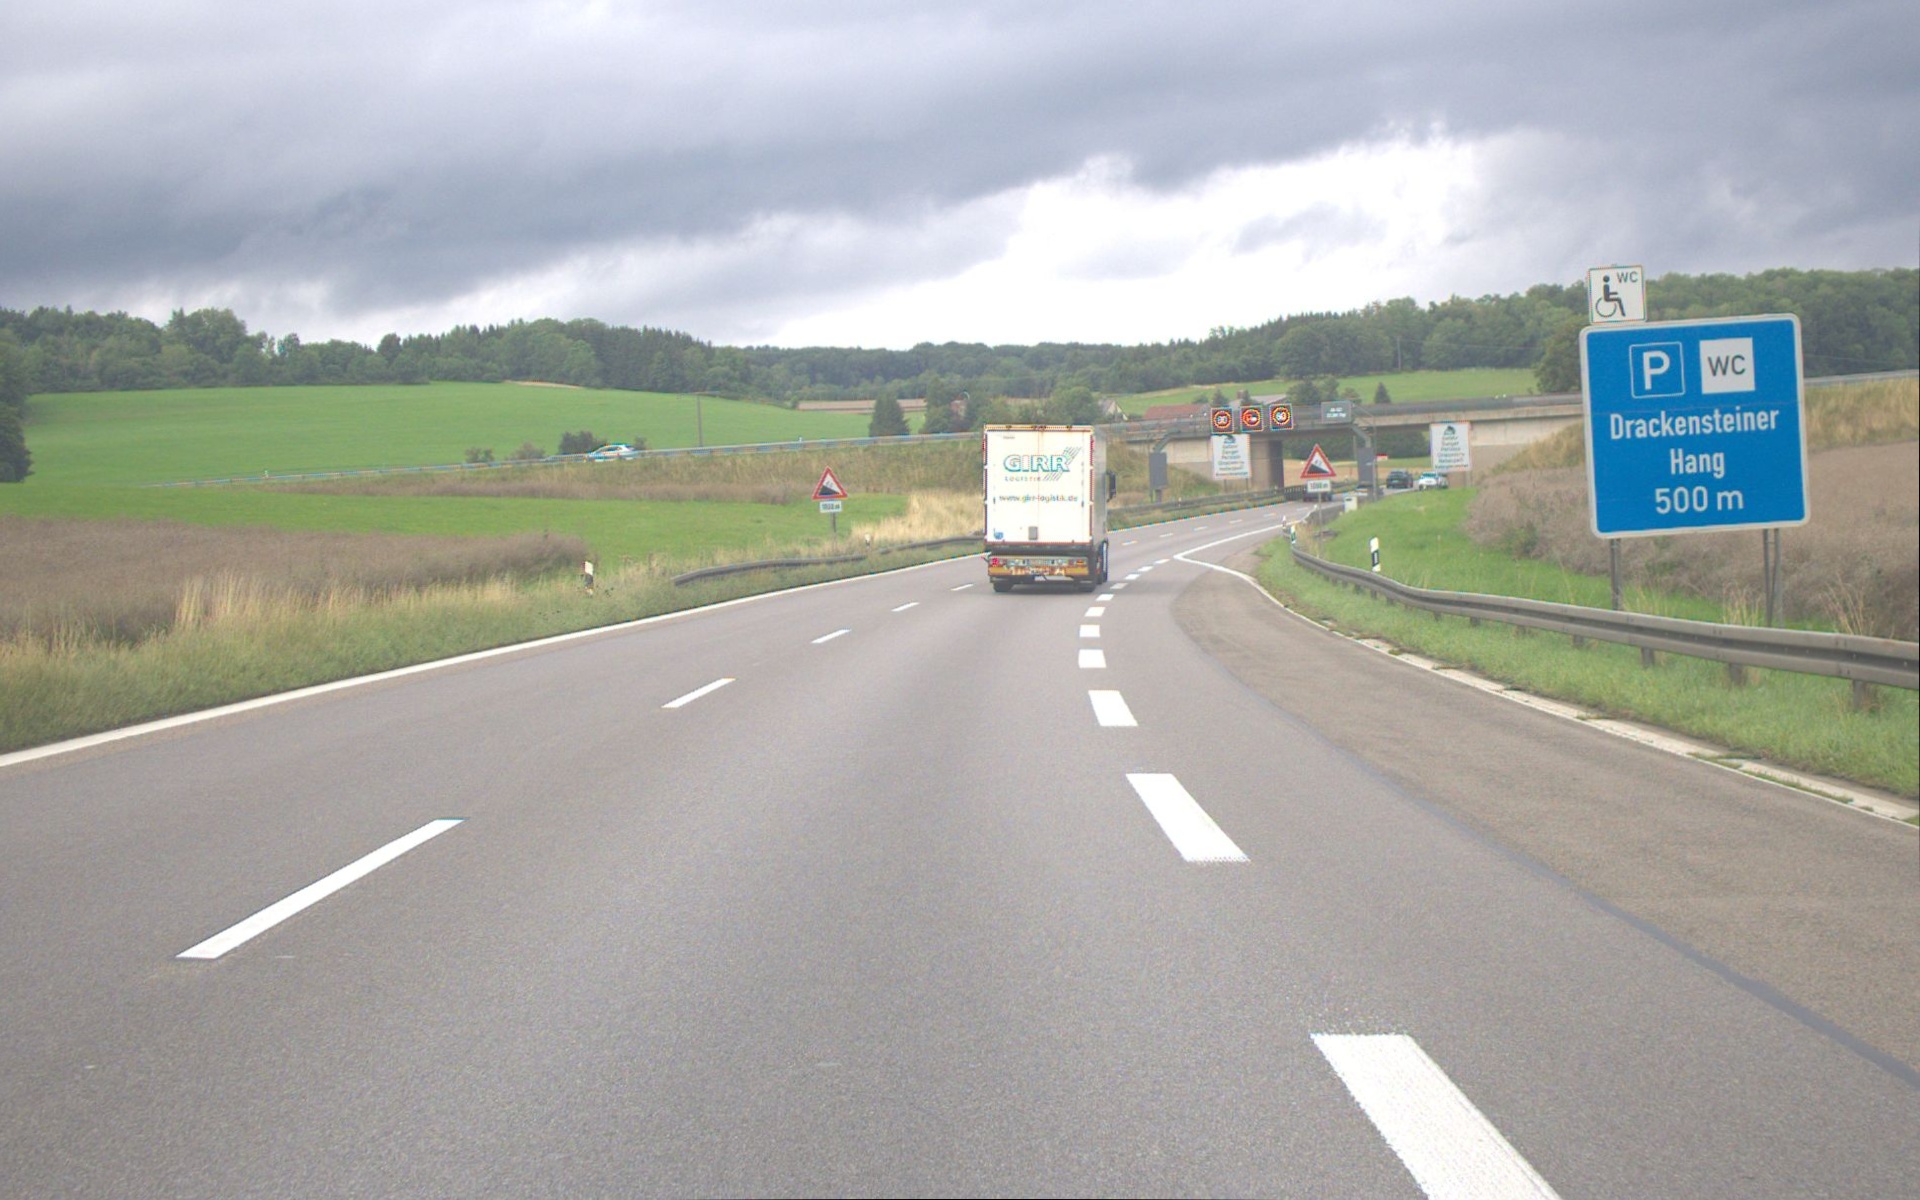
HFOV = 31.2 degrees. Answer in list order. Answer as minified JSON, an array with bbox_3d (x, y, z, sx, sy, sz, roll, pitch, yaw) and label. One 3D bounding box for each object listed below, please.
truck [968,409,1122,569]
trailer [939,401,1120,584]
[{"bbox_3d":[2.399,-2.940,93.287,3.788,4.118,8.264,-1,1,4],"label":"truck"},{"bbox_3d":[1.932,-2.645,86.186,3.806,4.160,14.807,0,1,4],"label":"trailer"}]
